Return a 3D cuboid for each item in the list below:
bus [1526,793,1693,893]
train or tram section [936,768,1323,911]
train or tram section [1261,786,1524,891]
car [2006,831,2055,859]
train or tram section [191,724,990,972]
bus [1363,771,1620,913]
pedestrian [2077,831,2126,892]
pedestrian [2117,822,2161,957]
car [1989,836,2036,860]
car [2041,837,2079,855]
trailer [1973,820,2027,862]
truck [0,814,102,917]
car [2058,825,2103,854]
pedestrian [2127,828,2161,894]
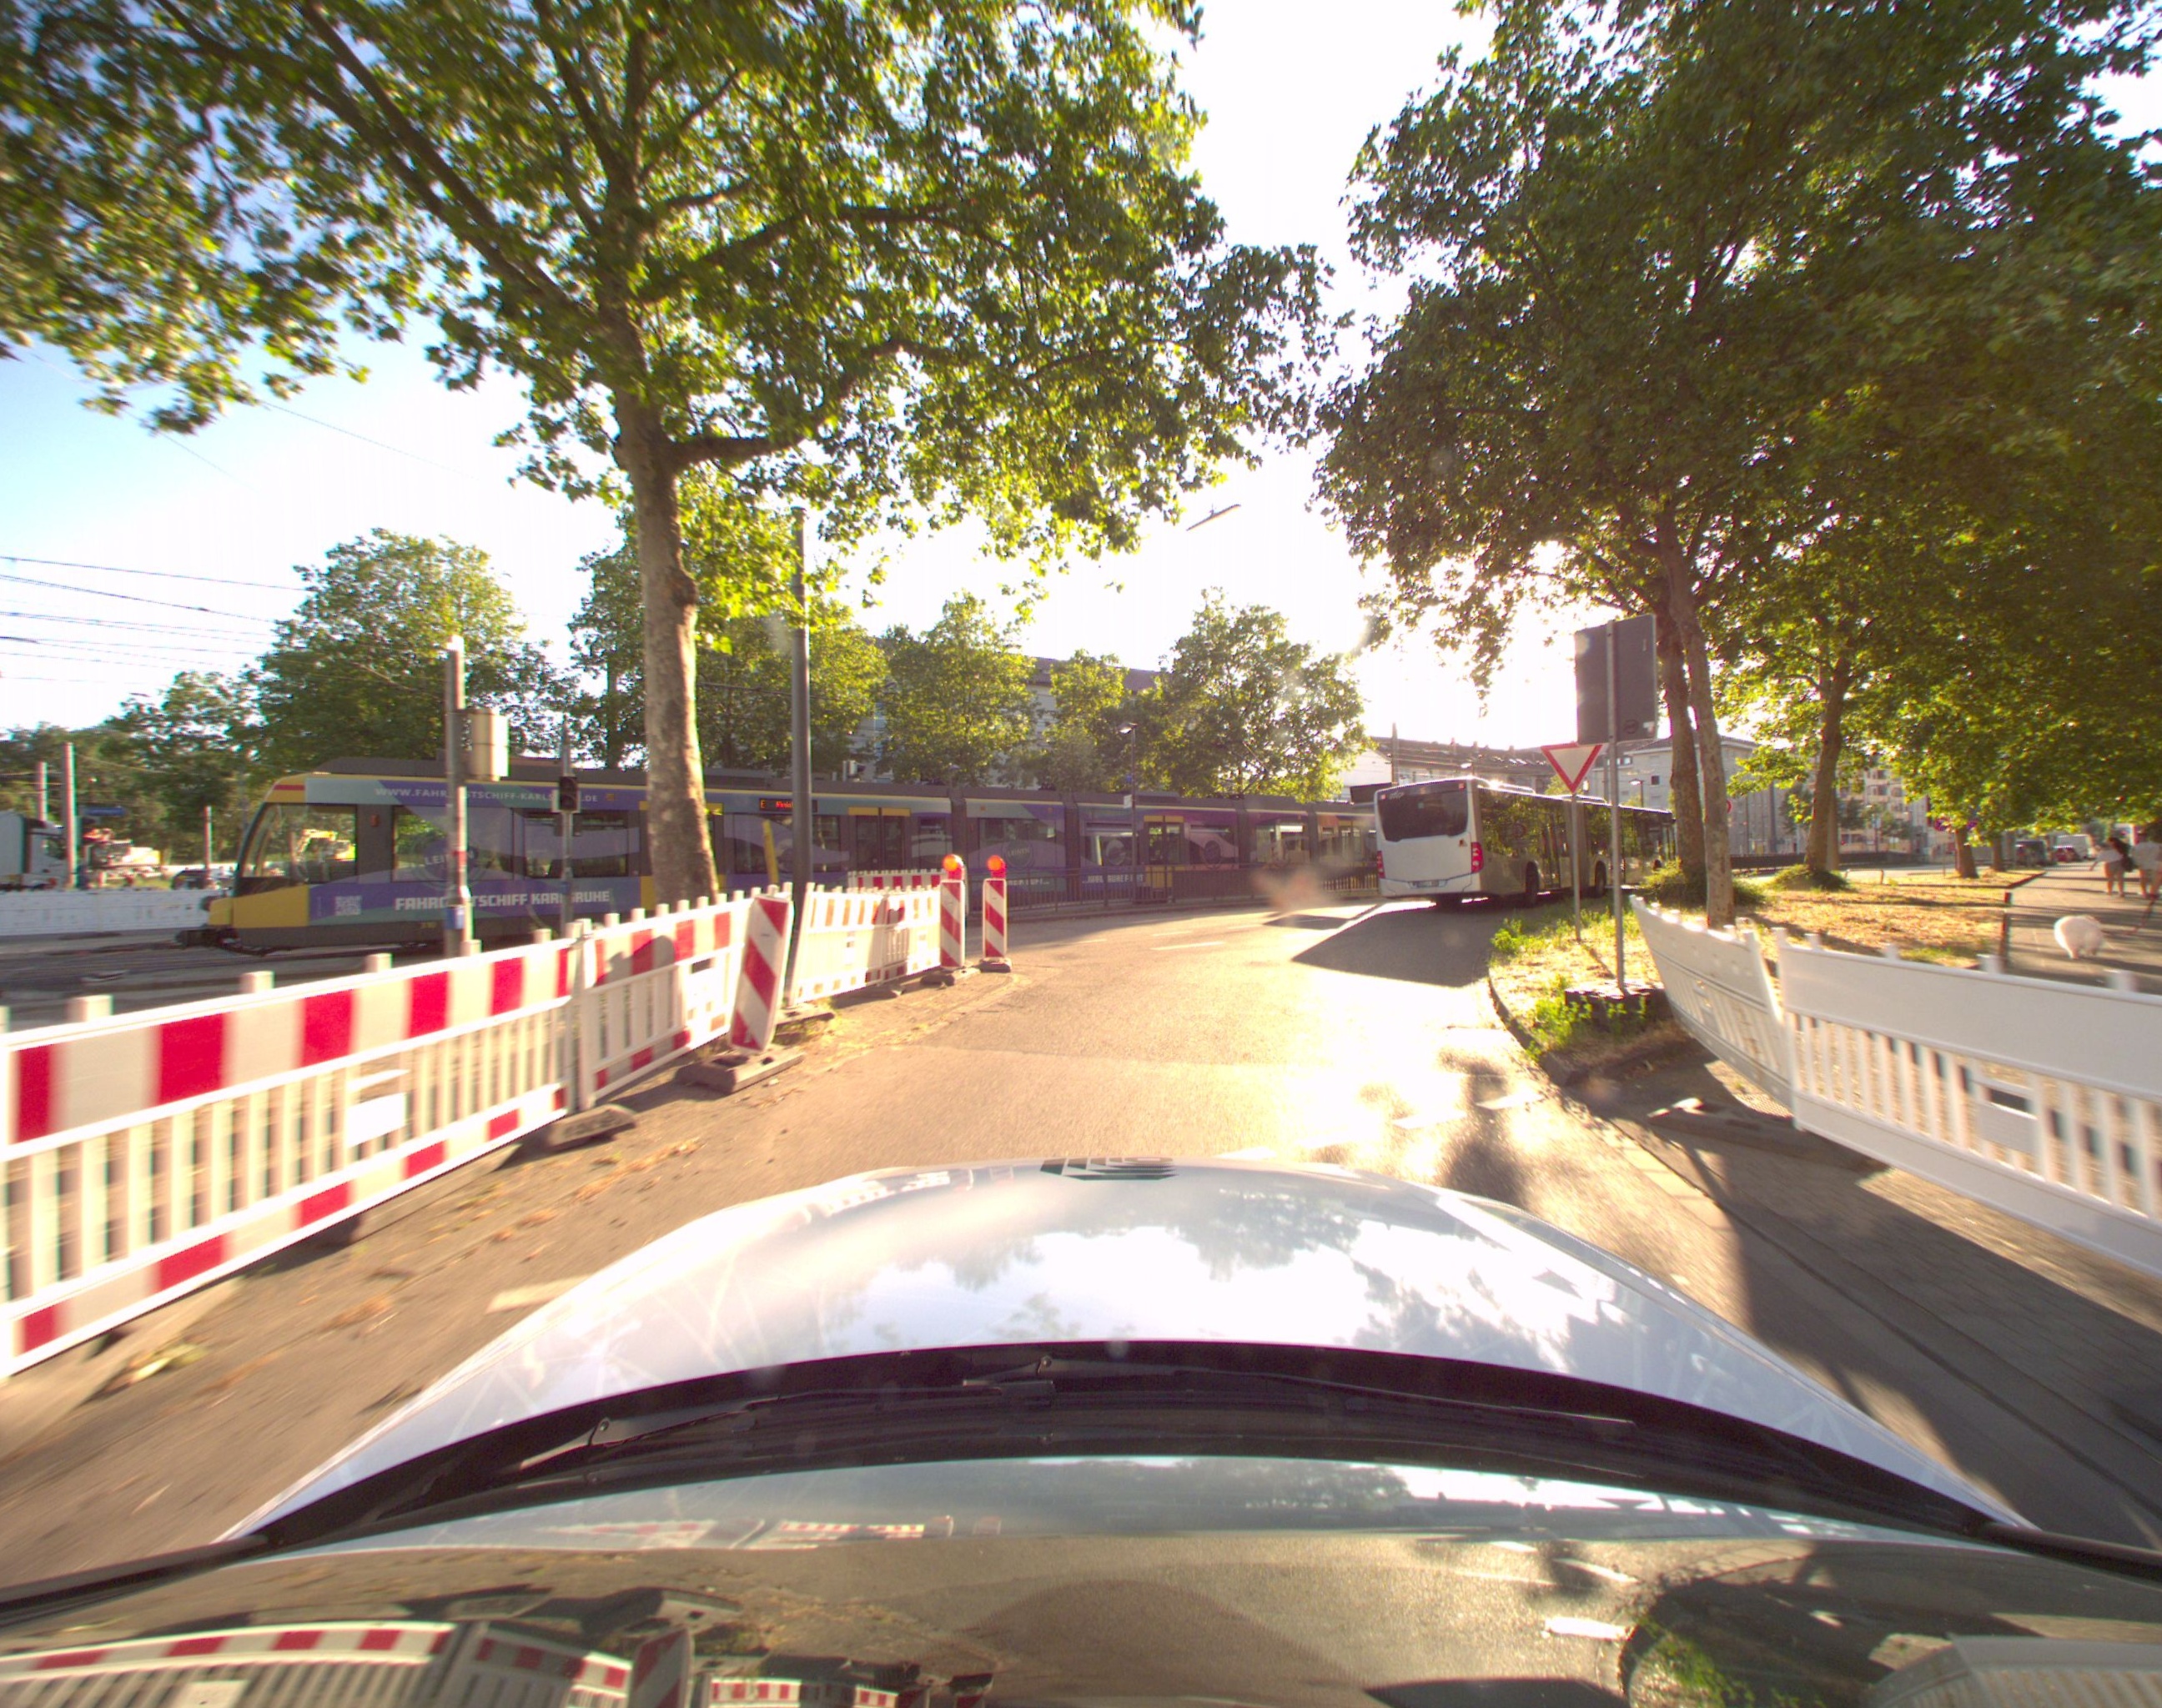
[{"bbox_3d":[19.195,-0.401,29.251,9.028,3.107,2.685,-1,0,-42],"label":"bus"},{"bbox_3d":[2.083,-0.421,24.937,12.837,3.549,2.708,-1,-1,-35],"label":"train or tram section"},{"bbox_3d":[12.821,-0.591,32.391,13.388,3.519,2.621,-1,-1,-35],"label":"train or tram section"},{"bbox_3d":[69.351,-0.667,59.474,4.562,1.956,1.833,0,-1,-35],"label":"car"},{"bbox_3d":[-8.380,-0.141,16.998,13.463,3.533,2.826,-1,-1,-40],"label":"train or tram section"},{"bbox_3d":[11.827,-0.323,22.646,10.762,3.139,2.709,-1,0,-43],"label":"bus"},{"bbox_3d":[27.242,0.195,21.747,0.820,1.572,0.783,-1,0,-39],"label":"pedestrian"},{"bbox_3d":[12.234,0.379,9.093,0.820,1.474,0.783,-1,0,-39],"label":"pedestrian"},{"bbox_3d":[64.183,-0.410,56.096,3.843,1.588,1.688,0,-1,-35],"label":"car"},{"bbox_3d":[82.528,-0.677,68.657,3.949,1.463,1.658,-1,-3,-35],"label":"car"},{"bbox_3d":[58.476,-0.838,51.813,3.332,2.558,1.819,-1,-1,-35],"label":"trailer"},{"bbox_3d":[-40.709,0.446,28.601,2.899,3.790,10.371,-1,0,-18],"label":"truck"},{"bbox_3d":[95.761,-1.330,78.020,5.331,2.627,2.265,0,-1,-35],"label":"car"},{"bbox_3d":[27.773,0.176,21.087,0.820,1.667,0.783,-1,0,-39],"label":"pedestrian"}]
